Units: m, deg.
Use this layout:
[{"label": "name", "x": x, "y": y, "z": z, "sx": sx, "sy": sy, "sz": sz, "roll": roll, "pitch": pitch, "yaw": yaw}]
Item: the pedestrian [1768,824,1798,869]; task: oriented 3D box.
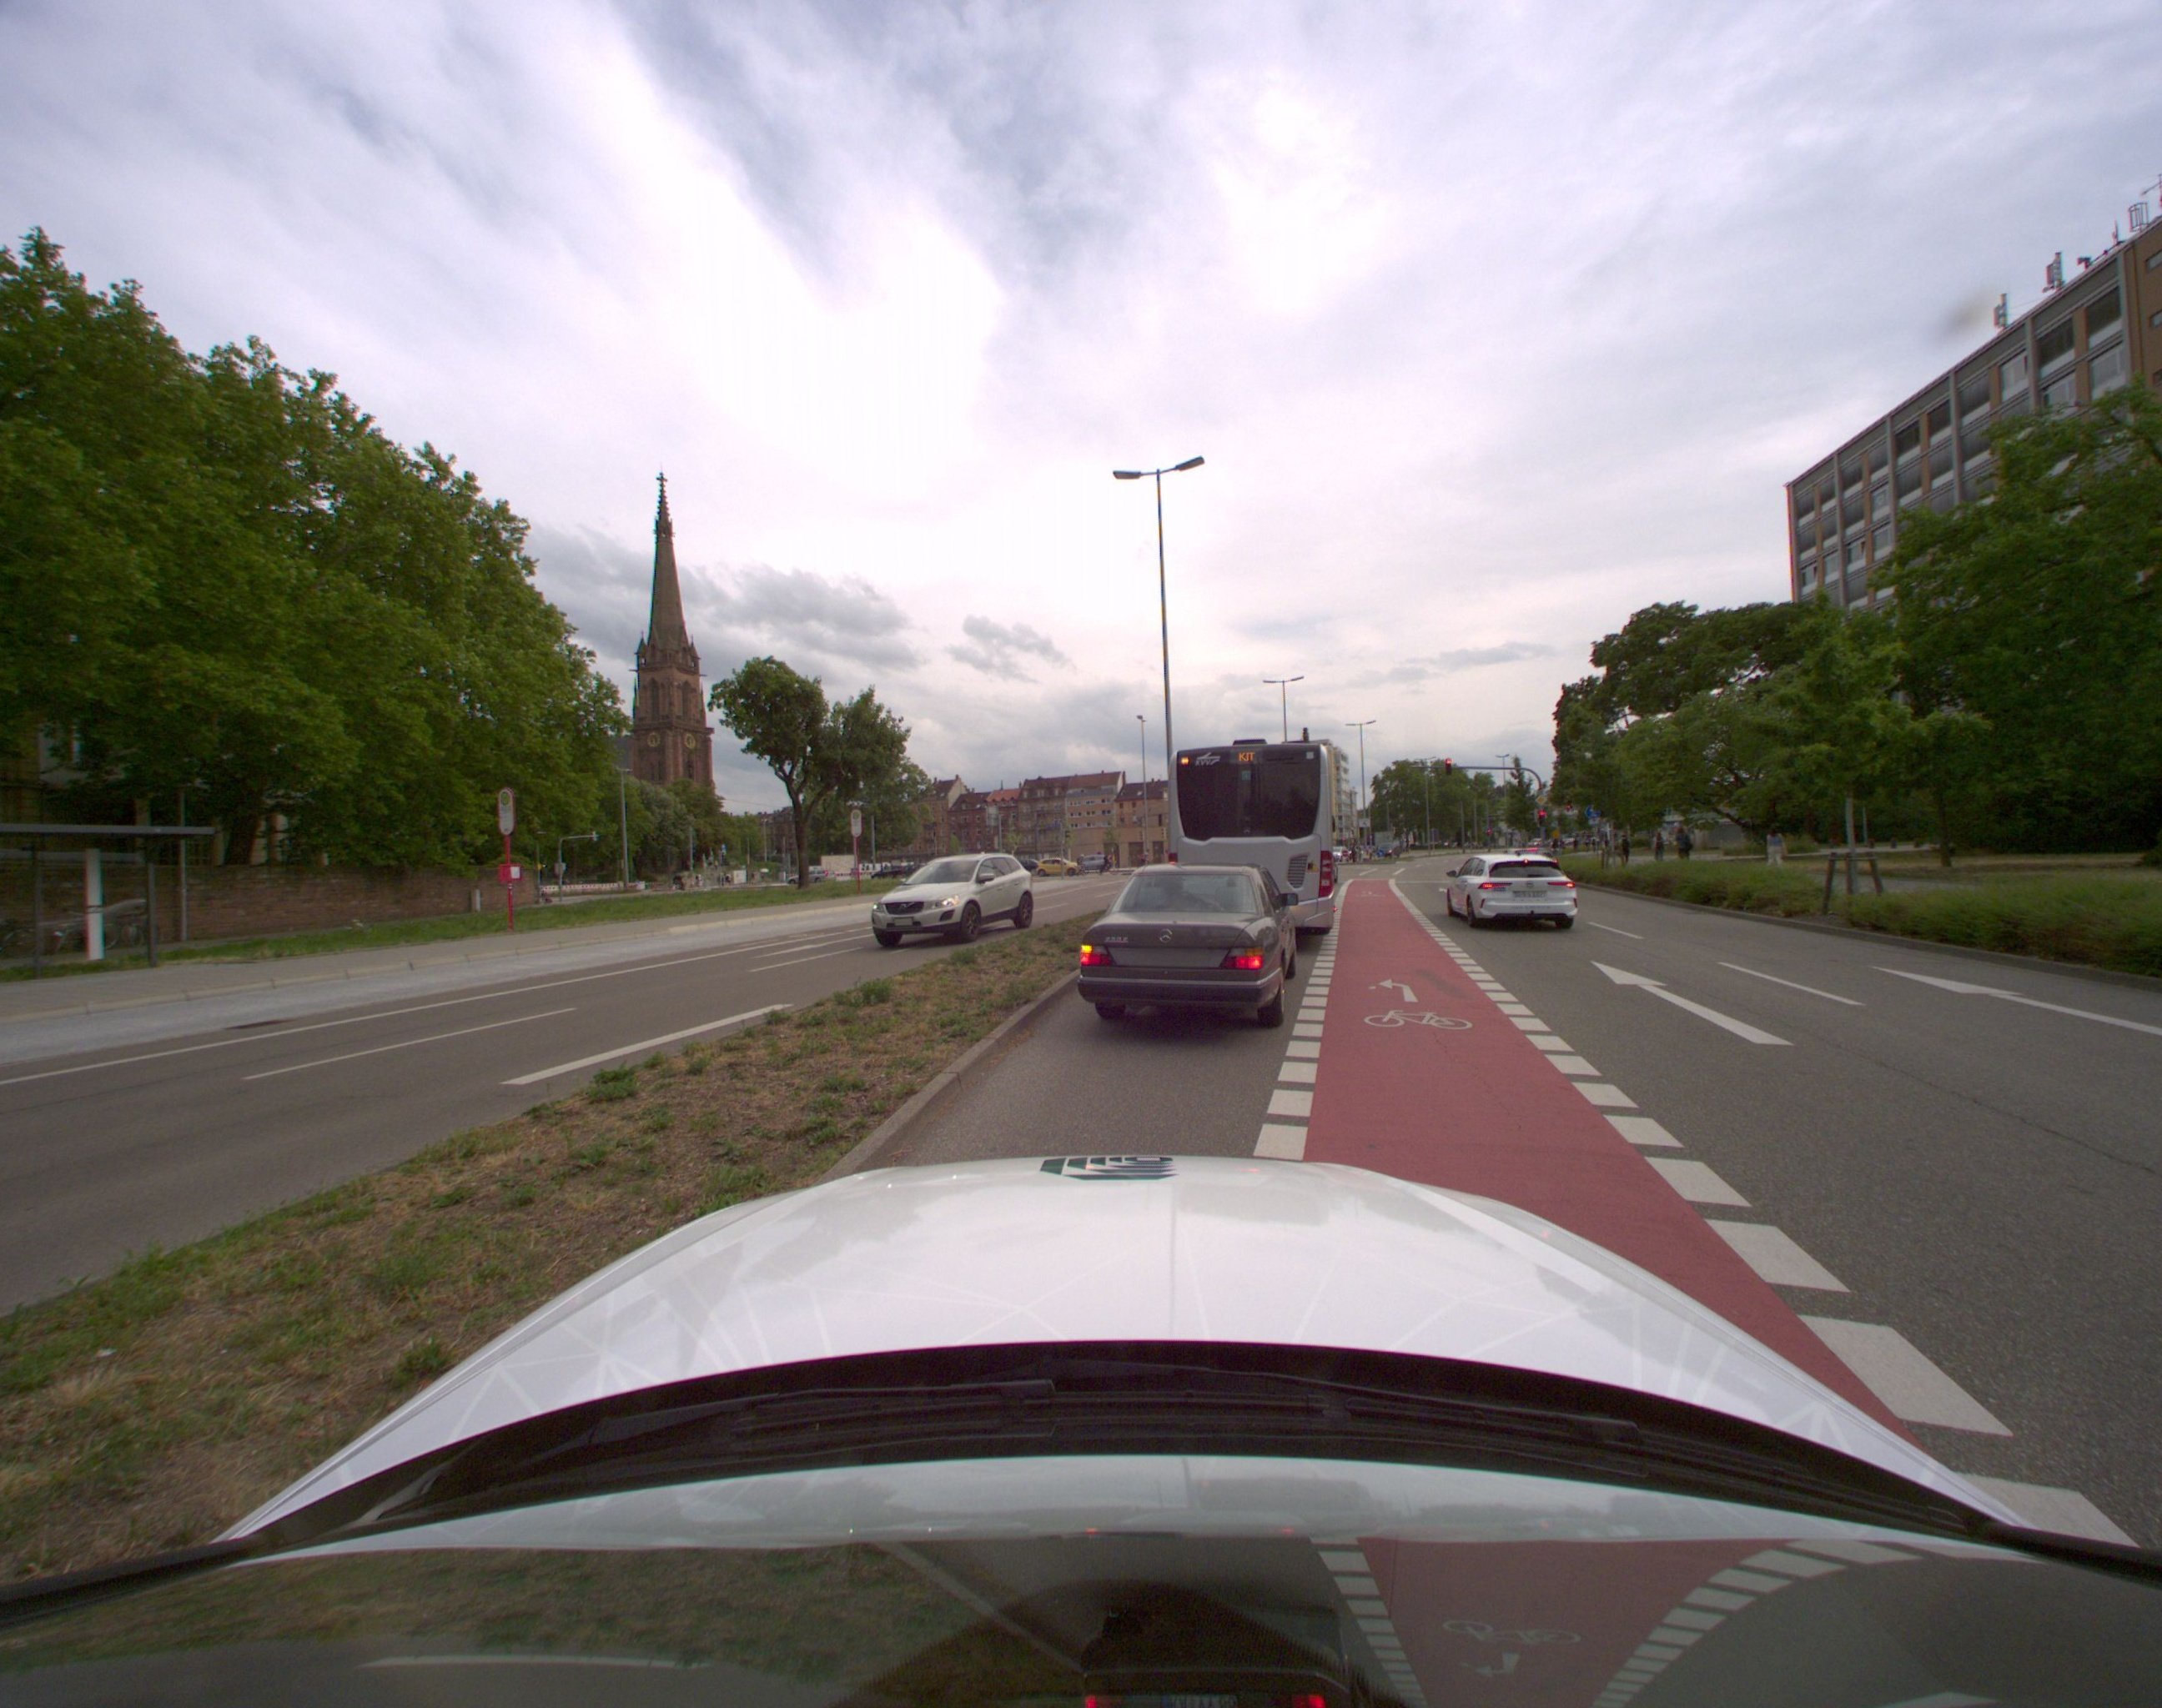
[{"label": "pedestrian", "x": 23.520, "y": -0.257, "z": 27.287, "sx": 0.650, "sy": 1.470, "sz": 0.565, "roll": -3, "pitch": -1, "yaw": 35}]

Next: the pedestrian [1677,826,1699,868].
[{"label": "pedestrian", "x": 25.526, "y": -0.282, "z": 34.232, "sx": 0.640, "sy": 1.713, "sz": 0.565, "roll": -3, "pitch": -1, "yaw": 33}]

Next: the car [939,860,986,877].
[{"label": "car", "x": -10.529, "y": 1.273, "z": 72.303, "sx": 3.737, "sy": 1.394, "sz": 1.590, "roll": -1, "pitch": 0, "yaw": 13}]

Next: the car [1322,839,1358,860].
[{"label": "car", "x": 28.300, "y": -0.512, "z": 88.815, "sx": 2.559, "sy": 2.109, "sz": 5.635, "roll": -3, "pitch": 0, "yaw": 29}]

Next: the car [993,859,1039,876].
[{"label": "car", "x": -5.676, "y": 1.177, "z": 71.336, "sx": 3.737, "sy": 1.394, "sz": 1.590, "roll": -1, "pitch": 0, "yaw": 13}]

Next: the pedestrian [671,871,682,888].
[{"label": "pedestrian", "x": -39.224, "y": 2.452, "z": 78.935, "sx": 0.558, "sy": 1.560, "sz": 0.728, "roll": -3, "pitch": 2, "yaw": 12}]

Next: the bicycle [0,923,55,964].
[{"label": "bicycle", "x": -25.934, "y": 2.171, "z": 19.612, "sx": 0.480, "sy": 0.907, "sz": 1.617, "roll": 0, "pitch": 0, "yaw": -6}]

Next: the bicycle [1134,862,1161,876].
[{"label": "bicycle", "x": 4.997, "y": 1.122, "z": 61.159, "sx": 1.949, "sy": 0.982, "sz": 0.633, "roll": -3, "pitch": 0, "yaw": 15}]

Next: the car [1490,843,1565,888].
[{"label": "car", "x": 15.876, "y": 0.382, "z": 29.147, "sx": 1.710, "sy": 1.457, "sz": 3.754, "roll": -2, "pitch": 0, "yaw": 19}]

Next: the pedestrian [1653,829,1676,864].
[{"label": "pedestrian", "x": 29.206, "y": -0.387, "z": 40.776, "sx": 0.794, "sy": 1.713, "sz": 0.770, "roll": -3, "pitch": -1, "yaw": 31}]

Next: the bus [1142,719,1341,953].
[{"label": "bus", "x": 3.536, "y": -0.272, "z": 16.144, "sx": 2.809, "sy": 3.390, "sz": 8.219, "roll": -2, "pitch": 0, "yaw": 17}]

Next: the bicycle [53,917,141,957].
[{"label": "bicycle", "x": -26.071, "y": 2.177, "z": 21.613, "sx": 0.480, "sy": 0.907, "sz": 1.617, "roll": 0, "pitch": 0, "yaw": -6}]

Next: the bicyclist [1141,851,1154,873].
[{"label": "bicyclist", "x": 4.981, "y": 0.578, "z": 61.161, "sx": 0.780, "sy": 1.643, "sz": 0.616, "roll": -3, "pitch": 0, "yaw": 15}]

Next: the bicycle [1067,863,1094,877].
[{"label": "bicycle", "x": -0.006, "y": 1.228, "z": 63.066, "sx": 1.950, "sy": 0.982, "sz": 0.633, "roll": -3, "pitch": 0, "yaw": 13}]

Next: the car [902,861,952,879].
[{"label": "car", "x": -12.917, "y": 1.316, "z": 68.343, "sx": 3.737, "sy": 1.394, "sz": 1.590, "roll": -1, "pitch": 0, "yaw": 13}]

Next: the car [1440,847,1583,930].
[{"label": "car", "x": 8.706, "y": 0.608, "z": 16.892, "sx": 1.726, "sy": 1.439, "sz": 4.804, "roll": -2, "pitch": 0, "yaw": 17}]

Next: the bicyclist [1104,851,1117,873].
[{"label": "bicyclist", "x": 2.248, "y": 0.633, "z": 62.294, "sx": 0.780, "sy": 1.643, "sz": 0.575, "roll": -3, "pitch": 0, "yaw": 17}]

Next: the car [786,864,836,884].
[{"label": "car", "x": -25.478, "y": 1.905, "z": 76.802, "sx": 4.126, "sy": 1.649, "sz": 1.652, "roll": -3, "pitch": 0, "yaw": 12}]

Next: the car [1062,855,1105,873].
[{"label": "car", "x": 0.200, "y": 0.856, "z": 70.271, "sx": 3.660, "sy": 1.394, "sz": 1.584, "roll": -1, "pitch": 0, "yaw": 0}]

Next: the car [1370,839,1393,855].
[{"label": "car", "x": 39.473, "y": -0.900, "z": 106.804, "sx": 1.974, "sy": 2.013, "sz": 4.026, "roll": -3, "pitch": 0, "yaw": 32}]

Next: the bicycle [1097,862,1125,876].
[{"label": "bicycle", "x": 2.305, "y": 1.171, "z": 62.274, "sx": 1.949, "sy": 0.982, "sz": 0.634, "roll": -3, "pitch": 0, "yaw": 16}]

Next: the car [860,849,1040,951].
[{"label": "car", "x": -2.453, "y": 0.812, "z": 16.501, "sx": 1.767, "sy": 1.730, "sz": 4.392, "roll": -3, "pitch": 0, "yaw": 17}]

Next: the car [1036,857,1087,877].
[{"label": "car", "x": -1.570, "y": 1.069, "z": 65.751, "sx": 3.830, "sy": 1.517, "sz": 1.666, "roll": -1, "pitch": 0, "yaw": 13}]

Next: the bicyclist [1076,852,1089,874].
[{"label": "bicyclist", "x": 0.119, "y": 0.685, "z": 63.029, "sx": 0.781, "sy": 1.643, "sz": 0.574, "roll": -3, "pitch": 0, "yaw": 13}]

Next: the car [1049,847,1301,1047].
[{"label": "car", "x": 1.235, "y": 0.719, "z": 8.394, "sx": 1.747, "sy": 1.489, "sz": 4.190, "roll": -2, "pitch": 0, "yaw": 17}]

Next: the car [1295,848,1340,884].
[{"label": "car", "x": 9.934, "y": 0.467, "z": 34.323, "sx": 1.642, "sy": 1.396, "sz": 3.876, "roll": -2, "pitch": 0, "yaw": 15}]

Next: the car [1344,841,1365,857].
[{"label": "car", "x": 32.331, "y": -0.602, "z": 96.329, "sx": 1.790, "sy": 1.850, "sz": 4.023, "roll": -3, "pitch": 0, "yaw": 25}]

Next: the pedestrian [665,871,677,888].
[{"label": "pedestrian", "x": -40.050, "y": 2.469, "z": 79.576, "sx": 0.558, "sy": 1.560, "sz": 0.728, "roll": -3, "pitch": 2, "yaw": 12}]
